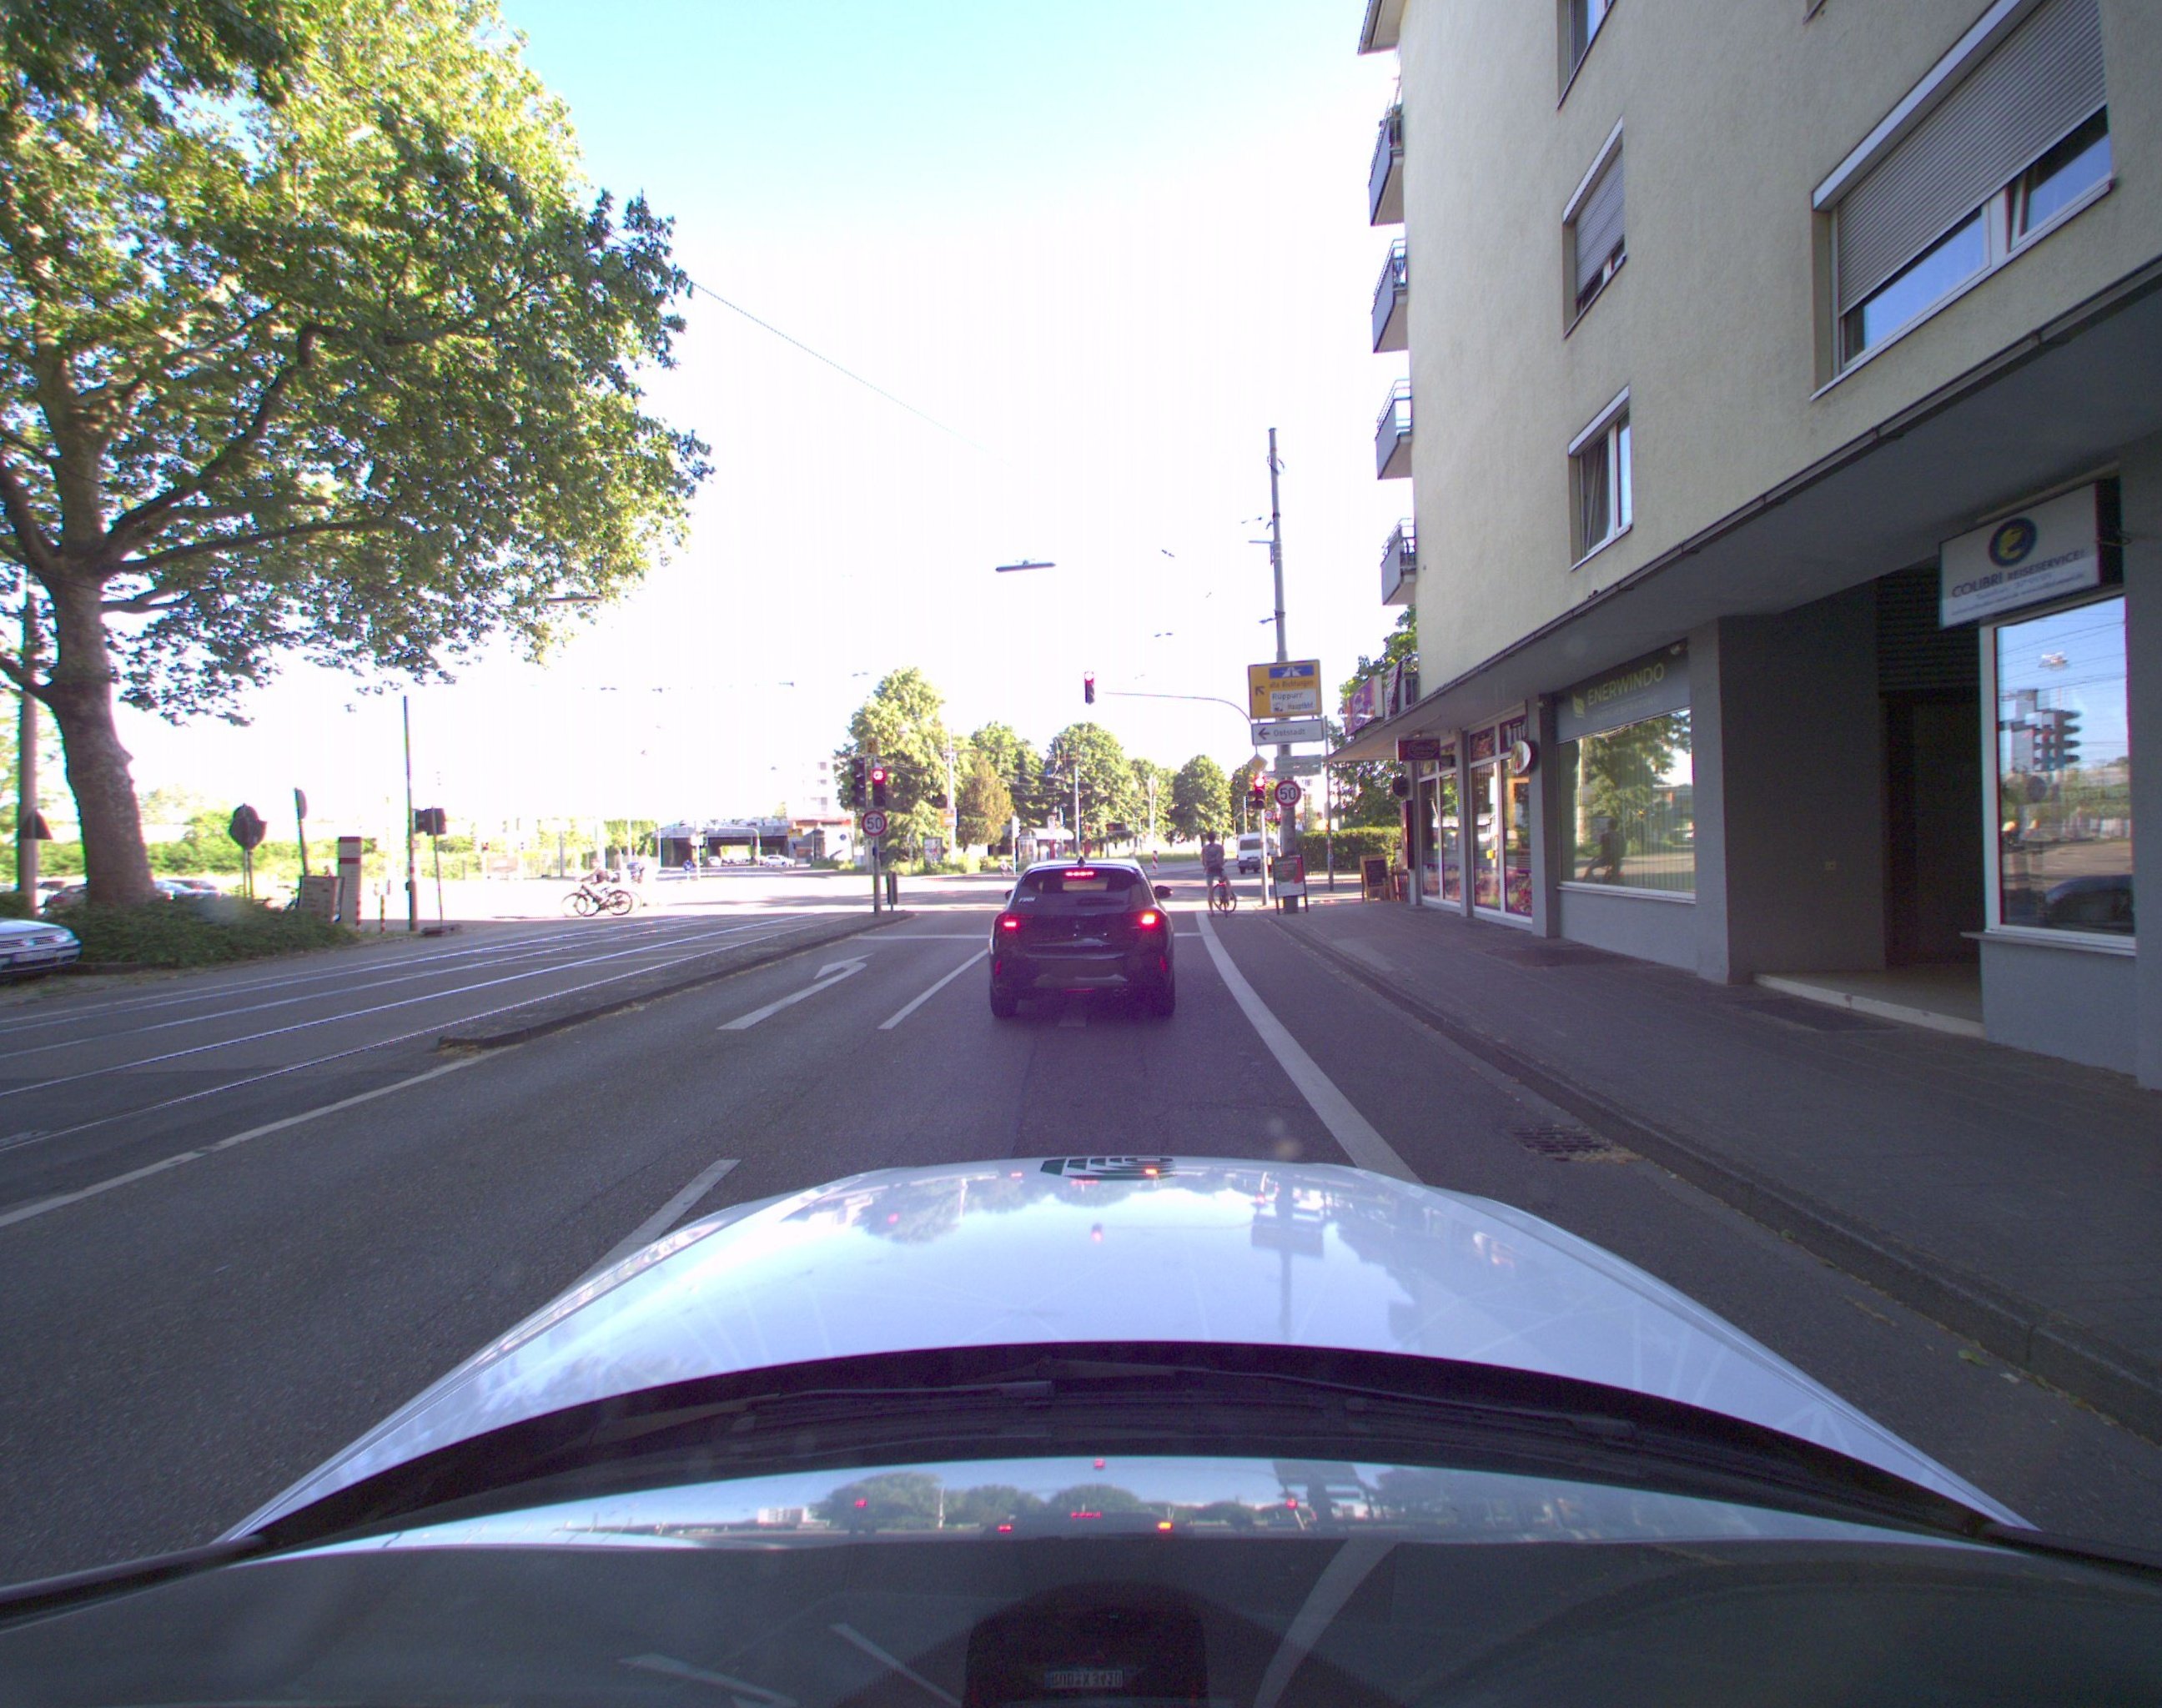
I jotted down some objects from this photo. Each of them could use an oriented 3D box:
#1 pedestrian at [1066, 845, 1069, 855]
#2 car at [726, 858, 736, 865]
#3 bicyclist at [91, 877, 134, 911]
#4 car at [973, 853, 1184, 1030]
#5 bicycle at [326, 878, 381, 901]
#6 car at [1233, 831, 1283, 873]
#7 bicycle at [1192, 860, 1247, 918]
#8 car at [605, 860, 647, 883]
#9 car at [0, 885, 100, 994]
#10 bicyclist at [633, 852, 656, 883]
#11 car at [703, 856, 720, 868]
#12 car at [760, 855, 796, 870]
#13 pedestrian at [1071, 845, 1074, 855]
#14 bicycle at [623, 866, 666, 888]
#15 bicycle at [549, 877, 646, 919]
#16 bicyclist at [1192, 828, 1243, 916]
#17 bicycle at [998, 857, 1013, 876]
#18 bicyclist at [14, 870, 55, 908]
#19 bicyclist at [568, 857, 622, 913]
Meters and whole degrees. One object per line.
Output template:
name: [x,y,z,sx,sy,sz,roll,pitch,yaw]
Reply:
pedestrian: [-1.794,-0.521,109.354,0.411,1.412,0.436,0,-1,-1]
car: [-85.944,1.775,199.939,2.003,1.602,4.213,-2,0,-24]
bicyclist: [-46.735,1.905,39.304,1.009,1.570,0.797,-2,0,-7]
car: [0.056,0.717,8.799,1.720,1.429,4.189,-1,0,2]
bicycle: [-38.253,1.849,42.864,0.575,1.060,2.055,-2,0,33]
car: [10.145,-0.151,46.389,2.046,2.248,4.912,-2,0,20]
bicycle: [3.023,0.736,18.020,0.857,1.153,2.172,-2,0,1]
car: [-31.287,1.155,56.110,1.830,1.519,3.870,0,0,-18]
car: [-16.961,1.200,11.370,4.497,1.429,1.676,0,0,0]
bicyclist: [-23.269,0.721,43.418,0.856,1.595,0.650,-2,0,7]
car: [-58.519,1.230,129.003,2.221,1.823,4.118,-2,0,-21]
car: [-40.197,1.114,108.006,4.148,1.805,1.742,-2,0,11]
pedestrian: [-1.116,-0.520,109.045,0.411,1.412,0.436,0,-1,1]
bicycle: [-23.271,1.230,43.426,2.044,1.094,0.594,-2,0,7]
bicycle: [-13.619,1.233,23.011,2.199,1.033,0.828,-2,0,-21]
bicyclist: [3.004,0.380,17.962,0.938,1.851,0.864,-2,0,1]
bicycle: [-4.306,0.727,46.744,0.603,1.031,1.983,-2,0,2]
bicyclist: [-49.388,1.626,38.451,0.933,1.707,0.866,-2,0,-34]
bicyclist: [-13.682,0.851,22.946,1.117,1.520,0.915,-2,0,-21]
